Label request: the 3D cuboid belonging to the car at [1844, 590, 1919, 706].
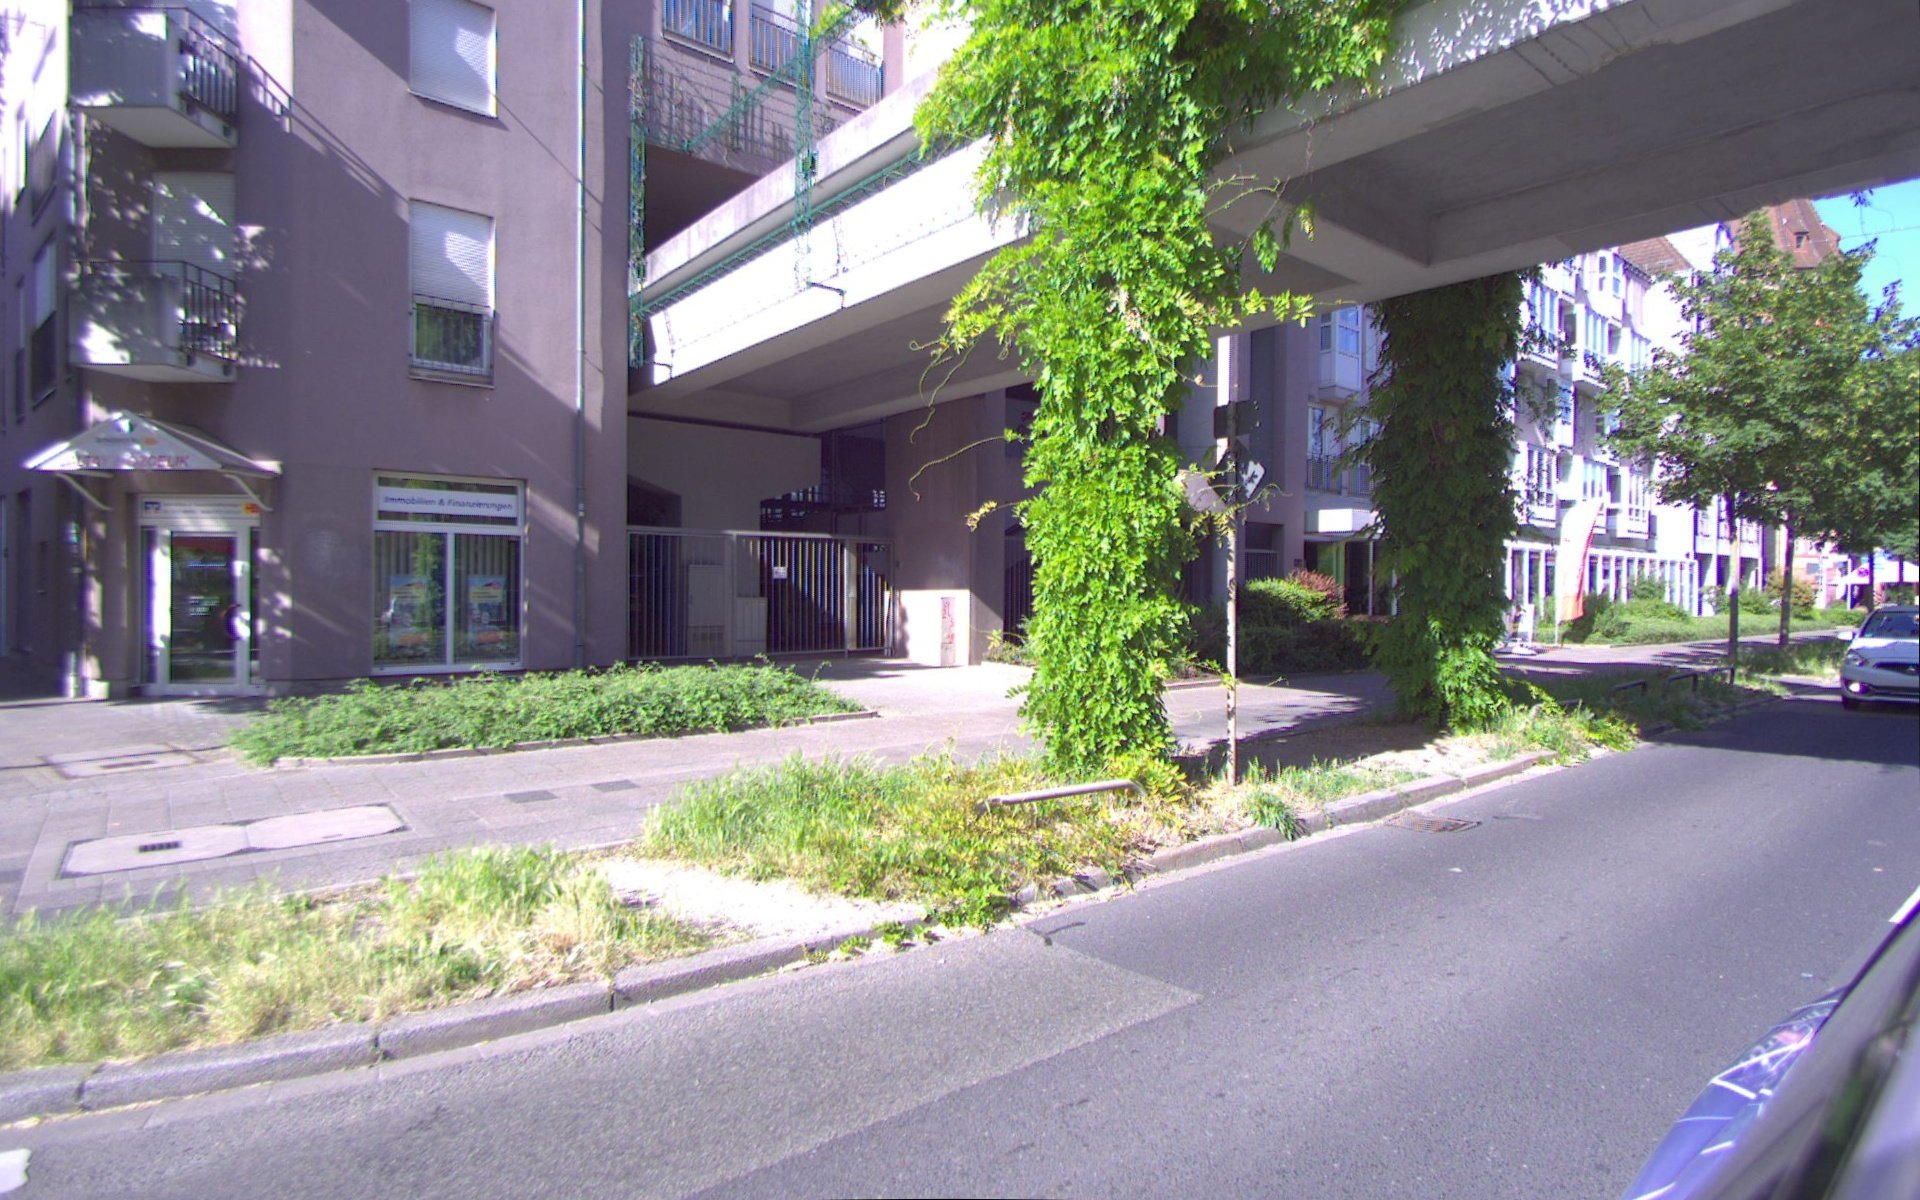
[{"bbox_3d":[14.439,0.638,14.826,4.027,1.549,1.663,0,1,-40],"label":"car"}]
